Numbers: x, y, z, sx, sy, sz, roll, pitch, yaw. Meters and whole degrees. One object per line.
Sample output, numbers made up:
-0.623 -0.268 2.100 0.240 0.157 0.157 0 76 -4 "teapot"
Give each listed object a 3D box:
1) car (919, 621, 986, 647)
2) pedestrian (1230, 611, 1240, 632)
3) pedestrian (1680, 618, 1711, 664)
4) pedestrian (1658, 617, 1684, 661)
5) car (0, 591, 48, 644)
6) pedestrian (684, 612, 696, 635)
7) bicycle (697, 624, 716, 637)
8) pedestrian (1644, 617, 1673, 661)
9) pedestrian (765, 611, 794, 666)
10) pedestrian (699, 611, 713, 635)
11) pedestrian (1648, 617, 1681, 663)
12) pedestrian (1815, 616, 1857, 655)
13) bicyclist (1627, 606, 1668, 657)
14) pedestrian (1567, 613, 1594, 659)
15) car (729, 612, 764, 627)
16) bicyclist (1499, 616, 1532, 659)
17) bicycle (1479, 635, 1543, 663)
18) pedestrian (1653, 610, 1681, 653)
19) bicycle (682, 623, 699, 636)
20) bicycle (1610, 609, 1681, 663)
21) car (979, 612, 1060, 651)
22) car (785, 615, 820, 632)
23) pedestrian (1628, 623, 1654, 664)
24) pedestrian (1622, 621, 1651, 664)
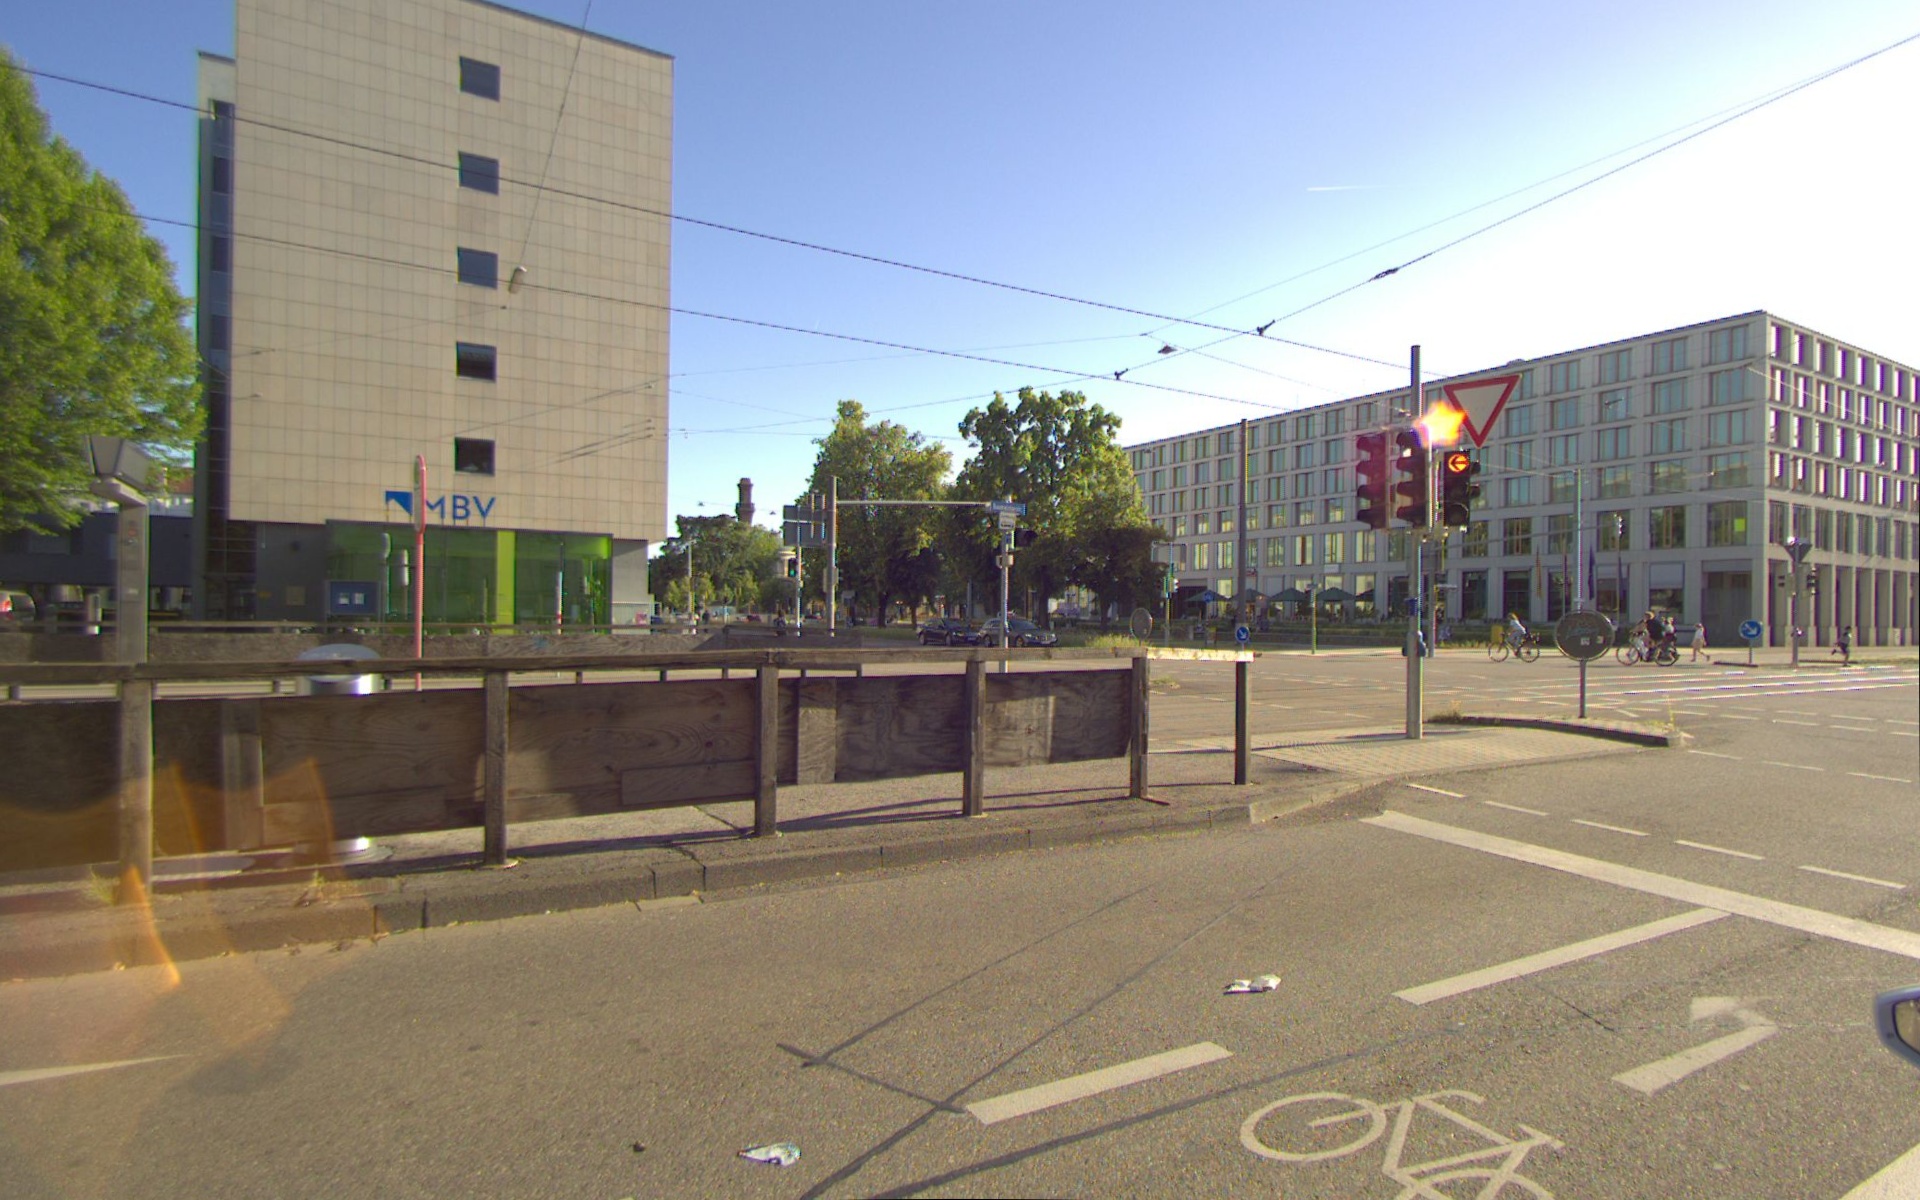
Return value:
-0.463 1.785 53.372 1.755 1.311 4.209 1 -1 -30 "car"
23.127 1.791 84.351 0.556 1.691 0.537 2 0 -33 "pedestrian"
29.759 1.667 40.637 0.525 1.827 0.867 1 -1 -24 "pedestrian"
30.182 1.639 42.624 0.525 1.827 0.737 2 -1 -24 "pedestrian"
-27.738 0.450 27.757 3.371 1.431 1.562 2 0 -20 "car"
-20.382 1.760 75.882 0.666 1.739 0.754 1 -1 -32 "pedestrian"
-19.456 2.311 76.978 0.818 0.973 2.132 1 -1 -31 "bicycle"
29.082 1.617 41.820 0.706 1.827 0.737 1 -1 -24 "pedestrian"
-5.846 1.240 32.567 0.814 1.739 0.757 1 -1 -18 "pedestrian"
-19.451 1.792 76.988 0.818 1.829 0.754 1 -1 -31 "pedestrian"
28.383 1.616 40.486 0.654 1.827 0.868 1 -1 -24 "pedestrian"
30.320 1.222 34.776 0.760 1.335 0.986 1 -1 -39 "pedestrian"
22.730 1.022 33.202 1.063 1.662 0.594 0 -1 43 "bicyclist"
26.413 1.512 42.759 0.628 1.943 0.800 1 -1 -24 "pedestrian"
-22.095 1.996 103.739 1.978 1.433 4.710 4 -2 -31 "car"
20.565 1.385 37.195 0.571 1.581 0.965 1 -1 -45 "bicyclist"
20.448 1.805 37.305 0.571 0.945 2.044 1 -1 -45 "bicycle"
29.710 1.339 42.211 0.668 1.784 0.746 2 -2 -25 "pedestrian"
-20.400 2.235 75.900 0.669 0.973 2.131 1 -1 -32 "bicycle"
22.675 1.168 33.256 1.876 1.758 0.594 0 -1 43 "bicycle"
2.775 1.478 47.901 1.829 1.602 4.496 1 1 -28 "car"
-14.133 2.089 89.979 1.614 1.452 4.021 3 -2 -31 "car"
28.309 1.800 41.768 0.614 1.666 0.691 1 -1 -29 "pedestrian"
26.721 1.662 39.660 0.615 1.666 0.787 1 -1 -34 "pedestrian"
